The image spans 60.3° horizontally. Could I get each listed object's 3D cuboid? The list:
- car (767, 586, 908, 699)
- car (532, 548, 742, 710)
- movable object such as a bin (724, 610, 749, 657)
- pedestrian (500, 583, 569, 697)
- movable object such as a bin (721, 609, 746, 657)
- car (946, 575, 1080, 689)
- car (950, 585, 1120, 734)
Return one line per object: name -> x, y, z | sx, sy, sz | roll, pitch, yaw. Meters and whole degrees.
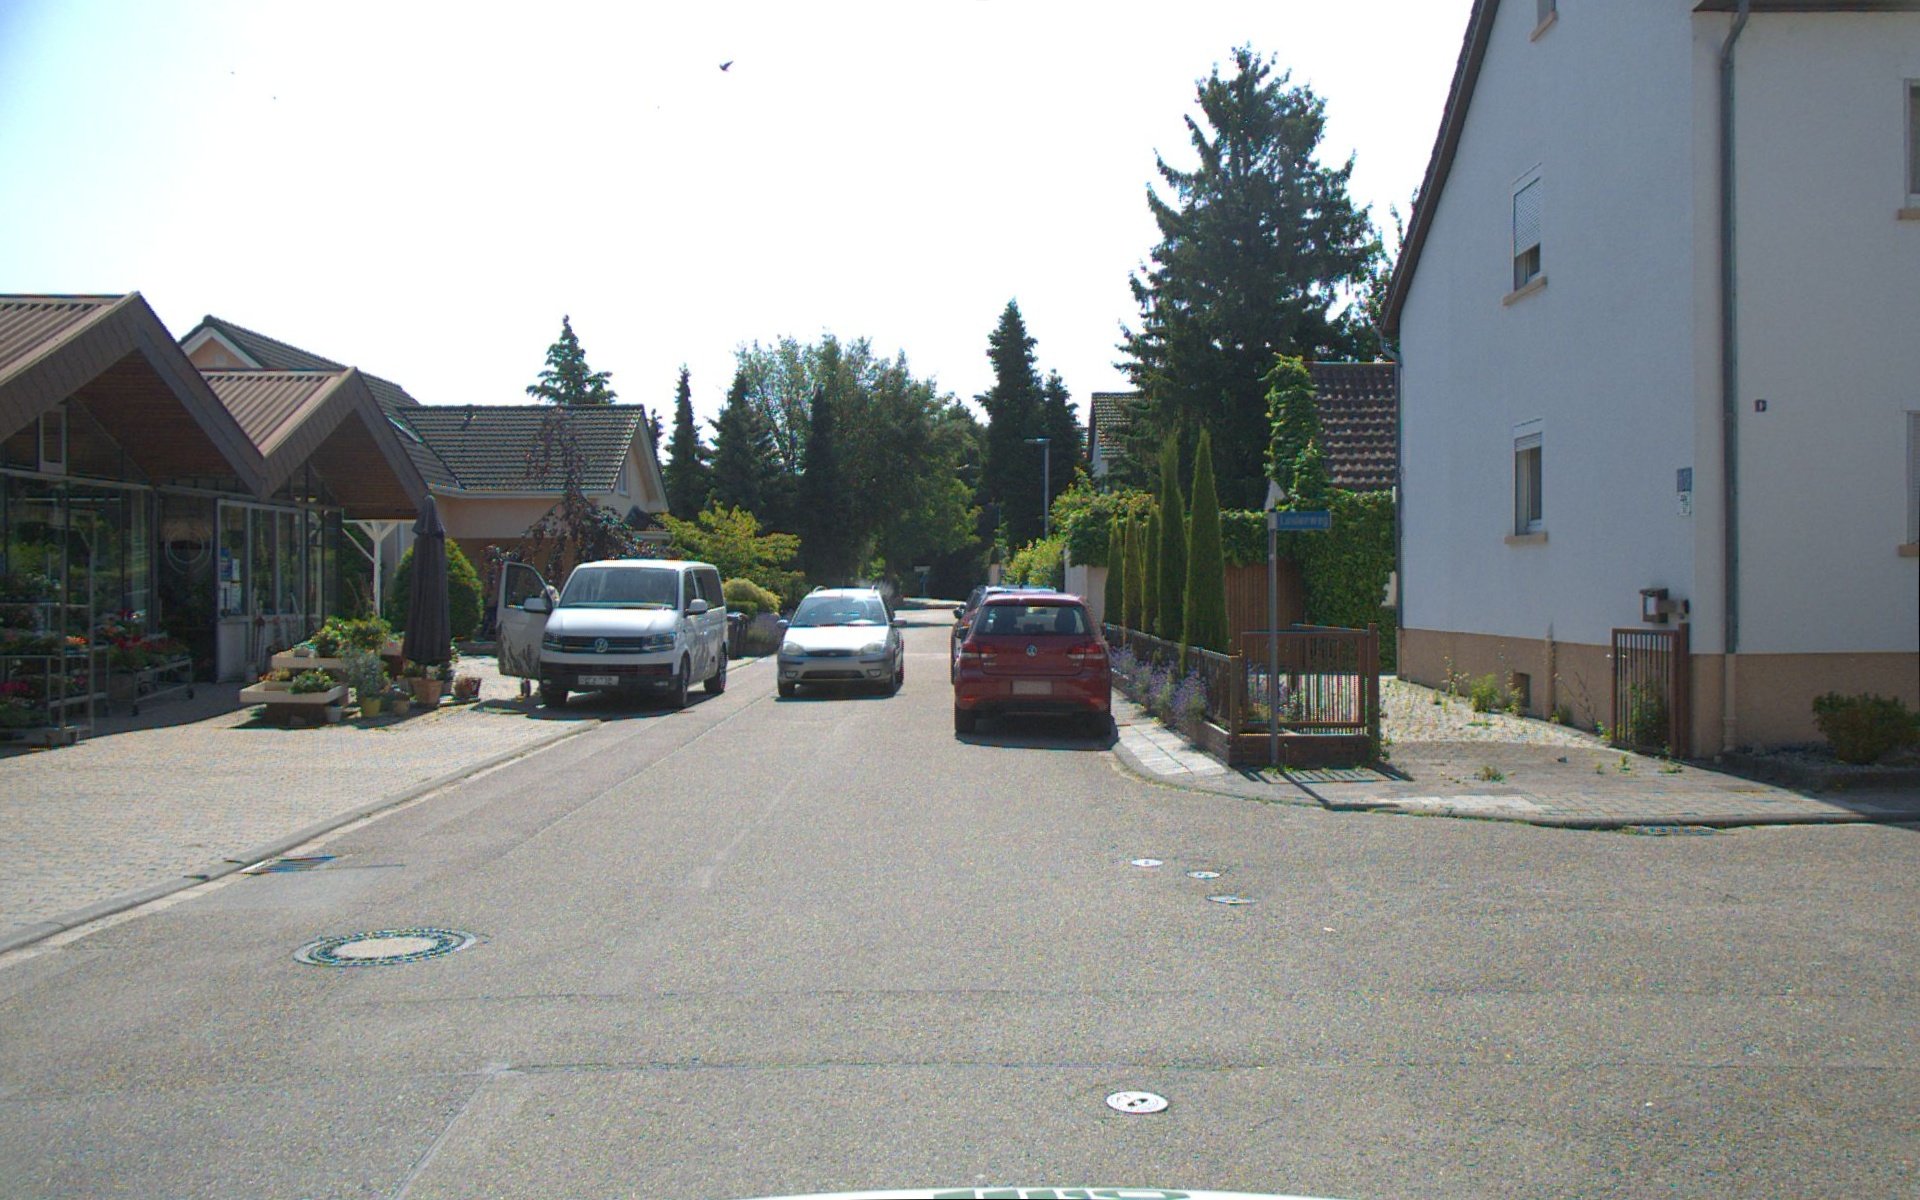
car -> -1.753, 0.571, 24.966 | 1.716, 1.513, 4.376 | -1, 0, 1
car -> -4.425, 0.349, 23.430 | 1.889, 2.049, 4.897 | 0, 0, 1
movable object such as a bin -> -4.999, 0.743, 37.031 | 0.484, 1.042, 0.447 | -1, 0, 0
pedestrian -> -5.959, 0.543, 23.170 | 0.704, 1.565, 0.640 | 1, 1, 33
movable object such as a bin -> -5.003, 0.726, 36.569 | 0.484, 1.042, 0.447 | -1, 0, 0
car -> 0.756, 0.447, 25.908 | 1.786, 1.643, 3.998 | 0, 0, -3
car -> 0.889, 0.606, 19.143 | 1.738, 1.505, 4.002 | 1, 0, 3
